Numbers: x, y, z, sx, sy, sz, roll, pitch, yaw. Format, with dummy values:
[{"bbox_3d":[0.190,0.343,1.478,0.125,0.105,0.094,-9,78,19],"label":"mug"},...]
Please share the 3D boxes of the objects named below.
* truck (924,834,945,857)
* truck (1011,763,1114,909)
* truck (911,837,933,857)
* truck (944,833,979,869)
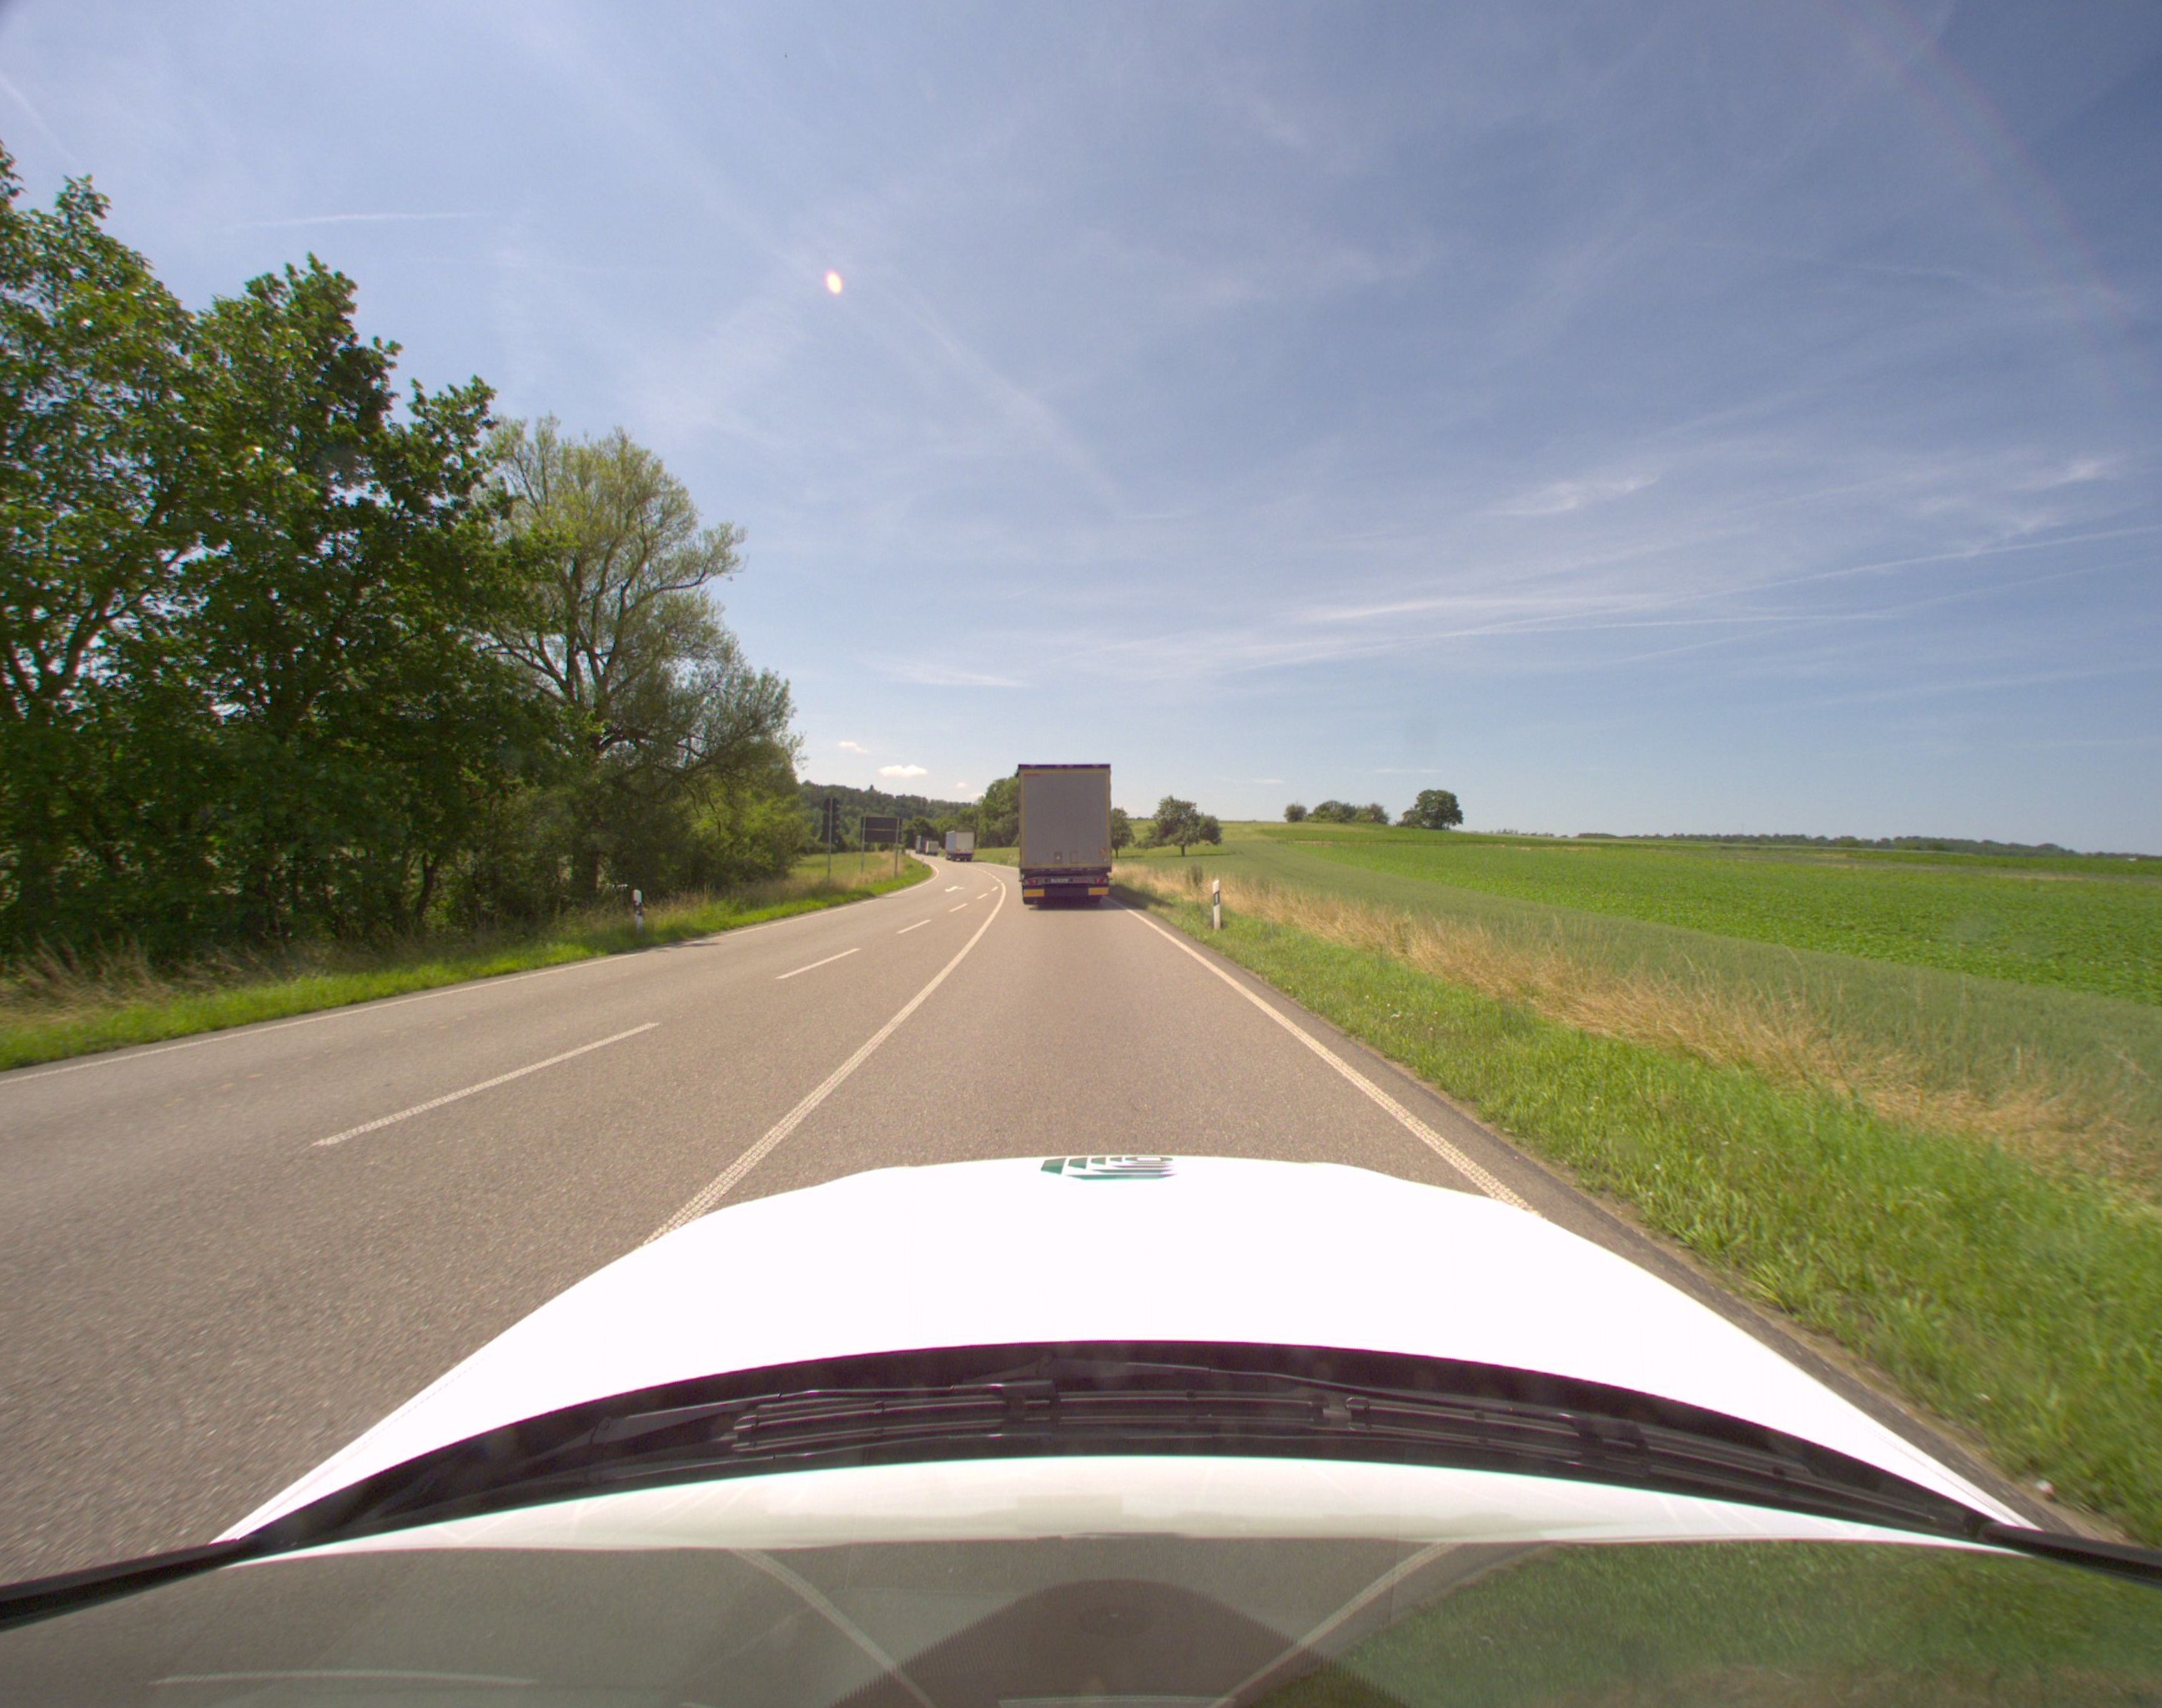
[{"bbox_3d":[-30.650,-1.718,169.978,3.641,4.130,13.036,2,-2,-13],"label":"truck"},{"bbox_3d":[-0.876,-0.523,26.967,2.803,3.946,9.575,0,0,-5],"label":"truck"},{"bbox_3d":[-36.544,-1.525,187.007,3.537,4.241,13.327,2,-2,-17],"label":"truck"},{"bbox_3d":[-16.808,-0.466,113.081,2.966,4.584,16.234,1,0,-15],"label":"truck"}]
